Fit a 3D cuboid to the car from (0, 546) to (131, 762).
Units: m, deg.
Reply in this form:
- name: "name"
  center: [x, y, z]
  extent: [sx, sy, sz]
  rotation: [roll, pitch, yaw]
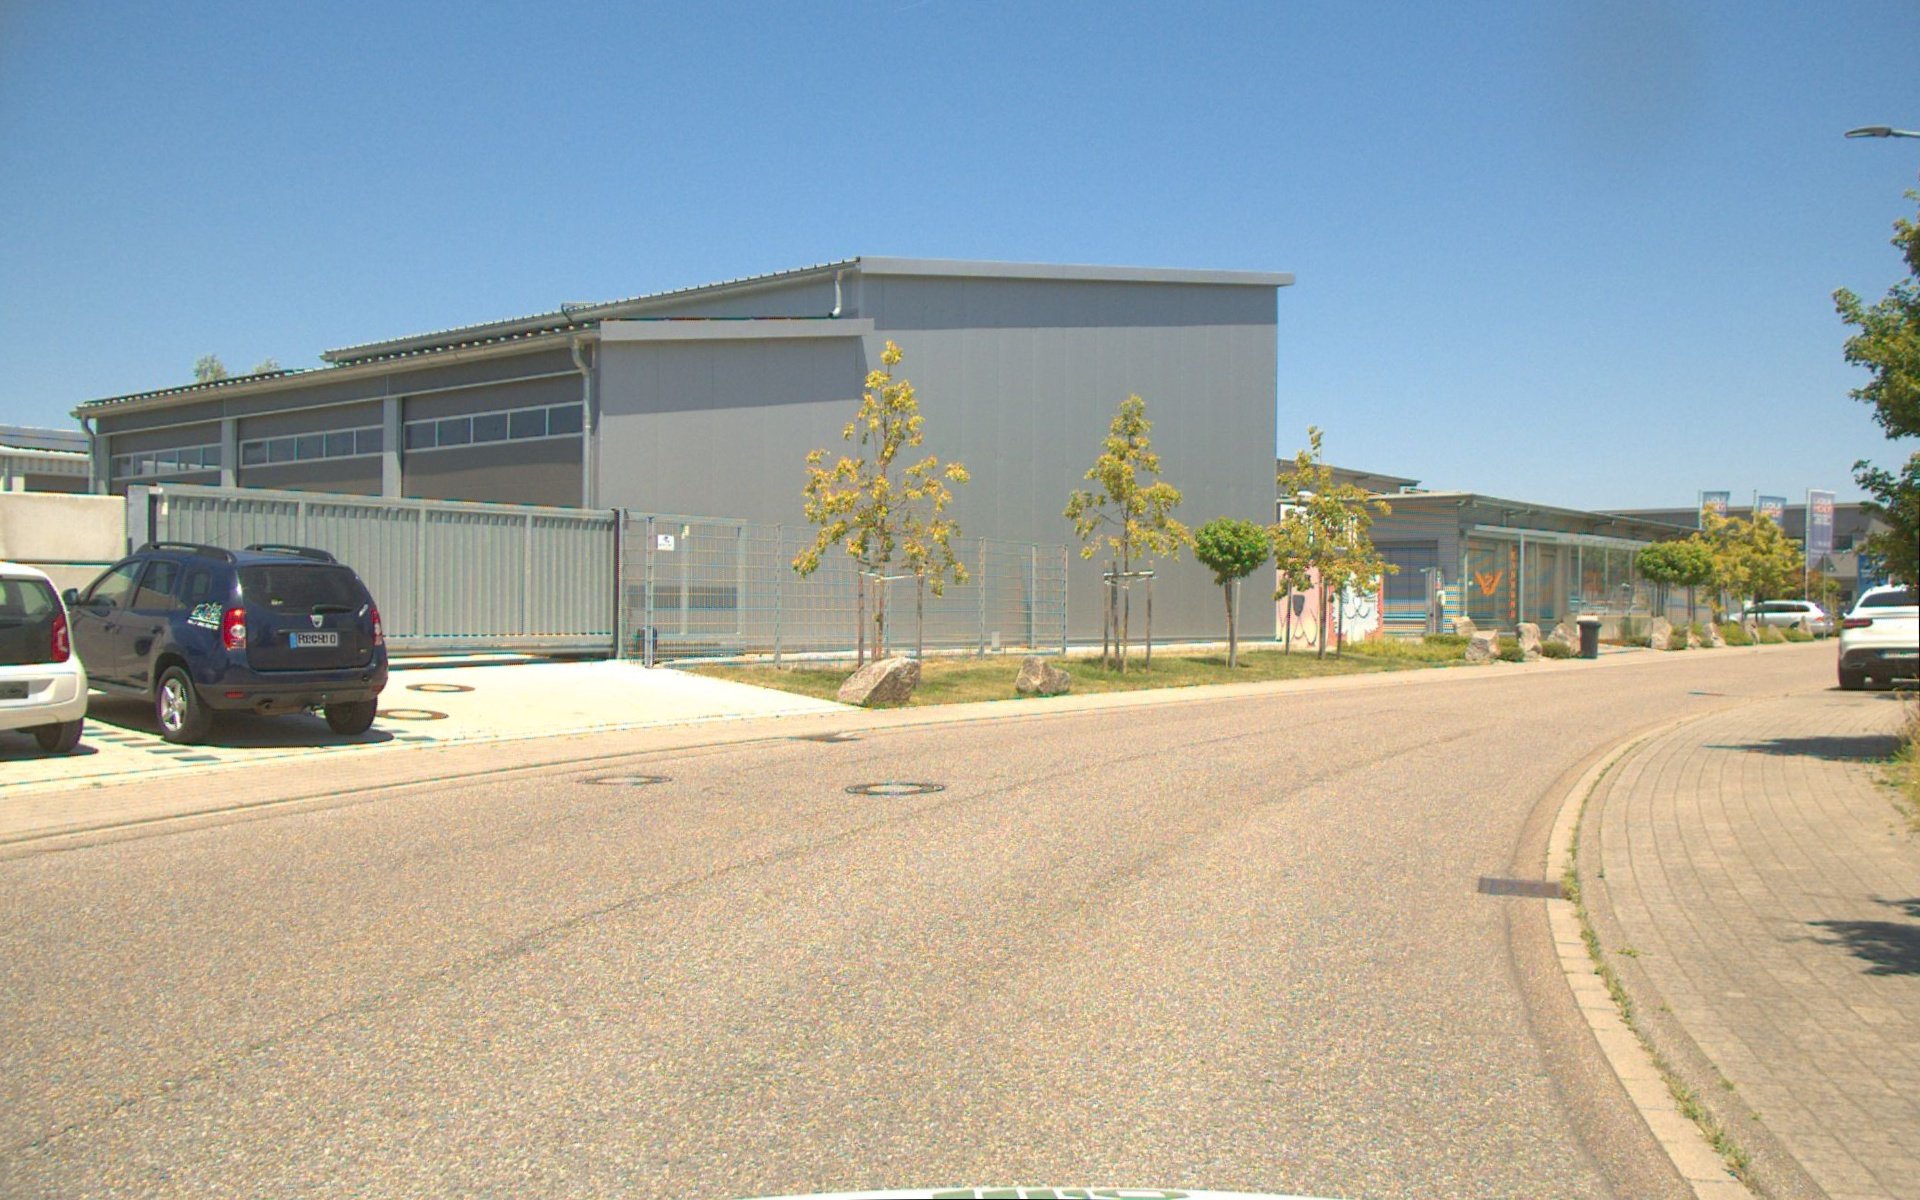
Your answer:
- name: "car"
  center: [-8.408, 0.321, 13.330]
  extent: [3.308, 1.486, 1.774]
  rotation: [6, 3, 37]

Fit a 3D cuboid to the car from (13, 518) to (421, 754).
- name: "car"
  center: [-7.012, 0.246, 15.436]
  extent: [4.100, 1.687, 1.773]
  rotation: [7, 3, 39]

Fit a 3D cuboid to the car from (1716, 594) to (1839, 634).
- name: "car"
  center: [33.099, 0.556, 67.033]
  extent: [4.194, 1.544, 1.857]
  rotation: [0, -1, 38]

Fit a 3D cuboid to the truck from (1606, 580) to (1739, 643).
- name: "truck"
  center: [43.624, 0.662, 101.566]
  extent: [2.542, 3.619, 8.012]
  rotation: [1, 0, -21]

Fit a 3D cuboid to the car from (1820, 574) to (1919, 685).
- name: "car"
  center: [16.230, 0.490, 27.963]
  extent: [2.110, 1.728, 4.762]
  rotation: [-2, -2, 38]

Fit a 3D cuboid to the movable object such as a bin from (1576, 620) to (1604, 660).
- name: "movable object such as a bin"
  center: [15.826, 1.000, 41.549]
  extent: [0.560, 0.966, 0.510]
  rotation: [1, 0, 34]
